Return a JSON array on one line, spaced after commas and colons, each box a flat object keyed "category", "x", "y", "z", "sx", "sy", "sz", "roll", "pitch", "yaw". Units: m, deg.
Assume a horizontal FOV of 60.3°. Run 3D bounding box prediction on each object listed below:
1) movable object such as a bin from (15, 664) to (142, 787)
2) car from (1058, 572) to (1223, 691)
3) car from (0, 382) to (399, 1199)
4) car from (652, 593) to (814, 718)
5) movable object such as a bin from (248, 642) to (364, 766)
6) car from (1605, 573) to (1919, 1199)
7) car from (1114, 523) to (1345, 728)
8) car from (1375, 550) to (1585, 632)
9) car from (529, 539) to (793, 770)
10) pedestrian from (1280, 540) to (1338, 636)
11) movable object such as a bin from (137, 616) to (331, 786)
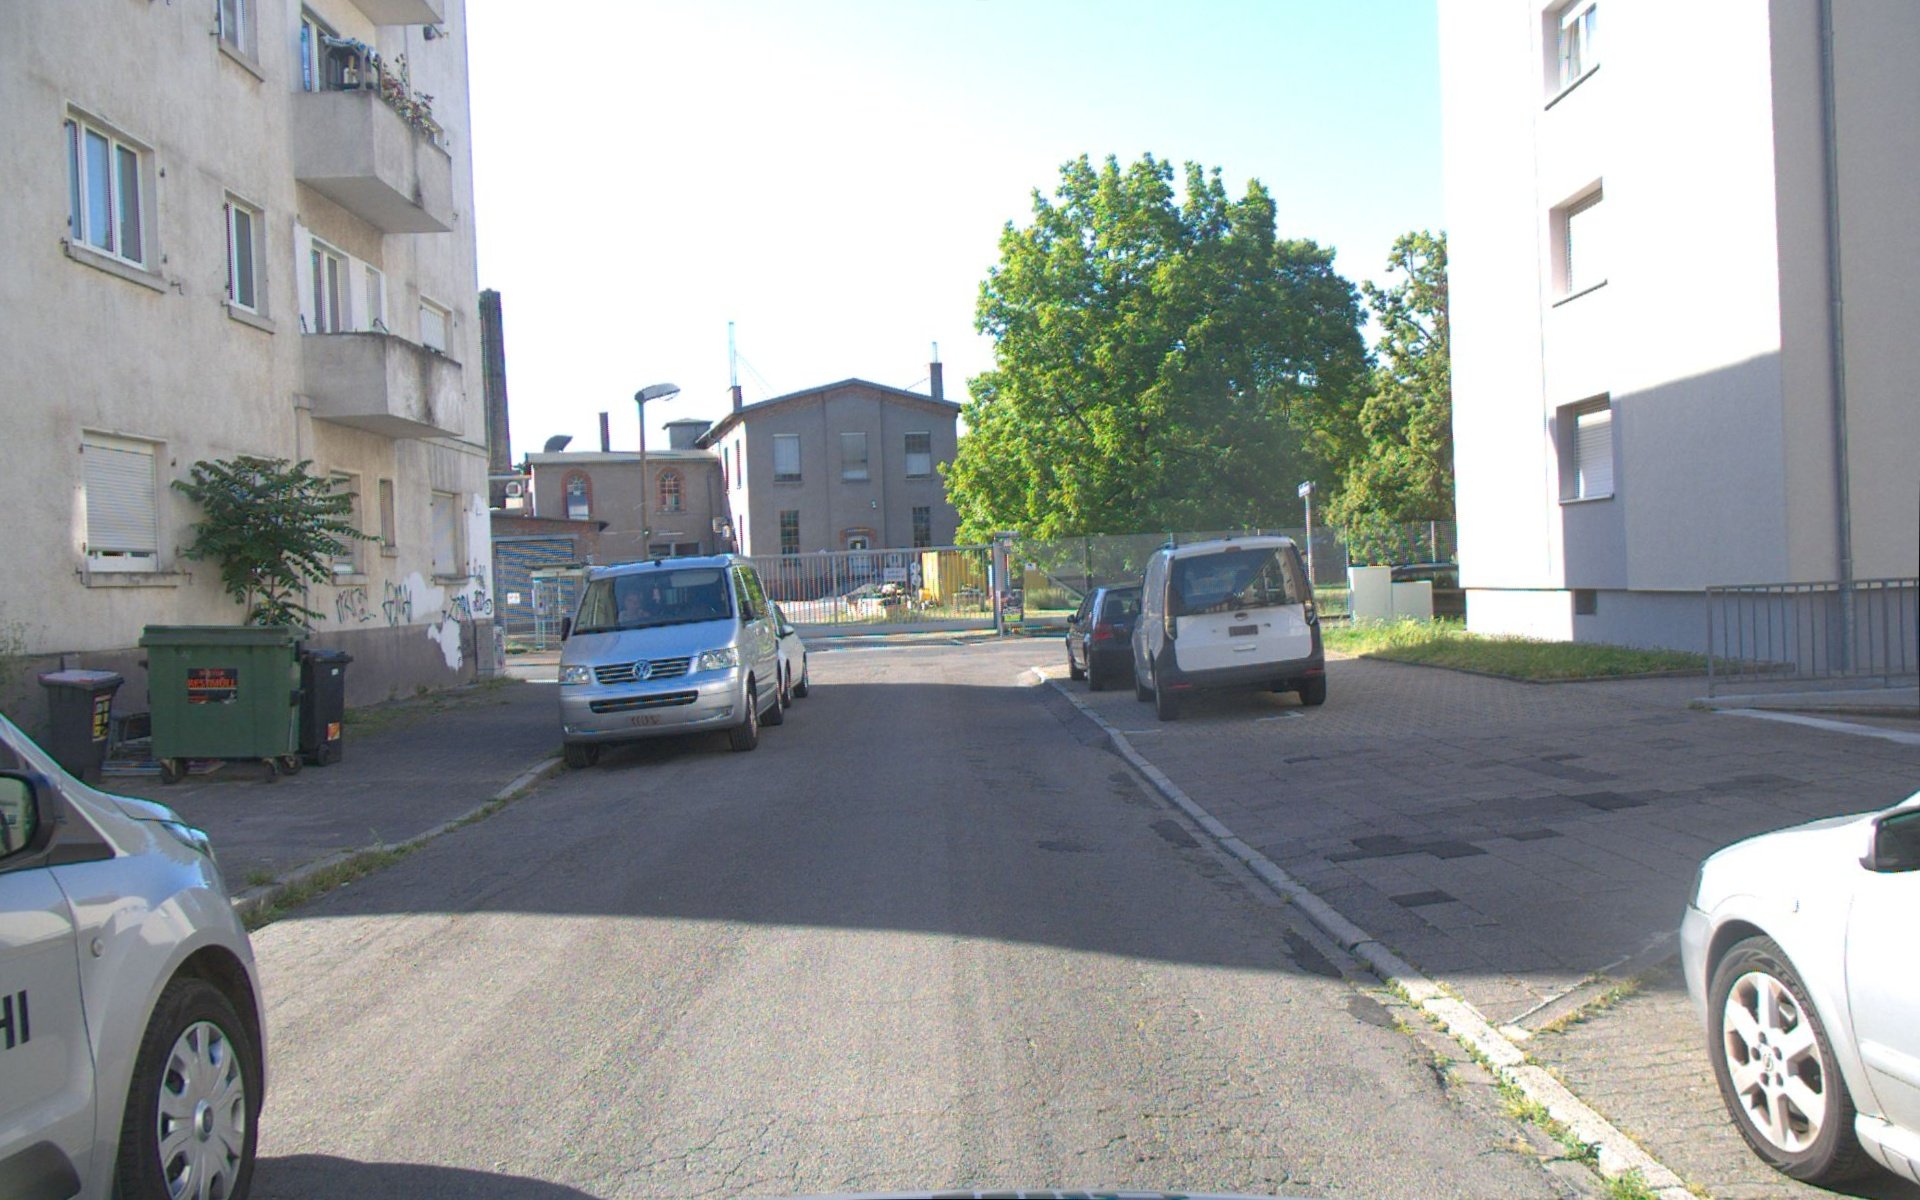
[{"category": "movable object such as a bin", "x": -7.593, "y": 1.074, "z": 14.269, "sx": 0.757, "sy": 0.991, "sz": 0.591, "roll": -2, "pitch": 0, "yaw": -1}, {"category": "car", "x": 2.542, "y": 0.415, "z": 24.164, "sx": 1.762, "sy": 1.439, "sz": 4.048, "roll": -5, "pitch": 0, "yaw": -2}, {"category": "car", "x": -2.528, "y": 0.619, "z": 2.199, "sx": 1.764, "sy": 1.861, "sz": 4.948, "roll": -5, "pitch": 0, "yaw": 0}, {"category": "car", "x": -3.105, "y": 0.712, "z": 23.272, "sx": 1.652, "sy": 1.484, "sz": 3.721, "roll": -4, "pitch": 0, "yaw": 0}, {"category": "movable object such as a bin", "x": -6.174, "y": 0.971, "z": 15.659, "sx": 0.757, "sy": 1.098, "sz": 0.816, "roll": -2, "pitch": 0, "yaw": -1}, {"category": "car", "x": 2.886, "y": 0.647, "z": 2.758, "sx": 1.707, "sy": 1.431, "sz": 4.312, "roll": -4, "pitch": 0, "yaw": -2}, {"category": "car", "x": 2.889, "y": 0.238, "z": 18.683, "sx": 1.761, "sy": 1.877, "sz": 4.539, "roll": -5, "pitch": 0, "yaw": 0}, {"category": "car", "x": 11.209, "y": -0.199, "z": 35.805, "sx": 3.991, "sy": 1.575, "sz": 1.622, "roll": -2, "pitch": 0, "yaw": -3}, {"category": "car", "x": -2.982, "y": 0.486, "z": 17.607, "sx": 1.912, "sy": 1.966, "sz": 4.855, "roll": -4, "pitch": 0, "yaw": -1}, {"category": "pedestrian", "x": 6.769, "y": -0.235, "z": 32.069, "sx": 0.827, "sy": 1.802, "sz": 0.643, "roll": -2, "pitch": 1, "yaw": -22}, {"category": "movable object such as a bin", "x": -6.404, "y": 0.871, "z": 14.661, "sx": 1.230, "sy": 1.401, "sz": 1.044, "roll": -2, "pitch": 0, "yaw": -2}]
